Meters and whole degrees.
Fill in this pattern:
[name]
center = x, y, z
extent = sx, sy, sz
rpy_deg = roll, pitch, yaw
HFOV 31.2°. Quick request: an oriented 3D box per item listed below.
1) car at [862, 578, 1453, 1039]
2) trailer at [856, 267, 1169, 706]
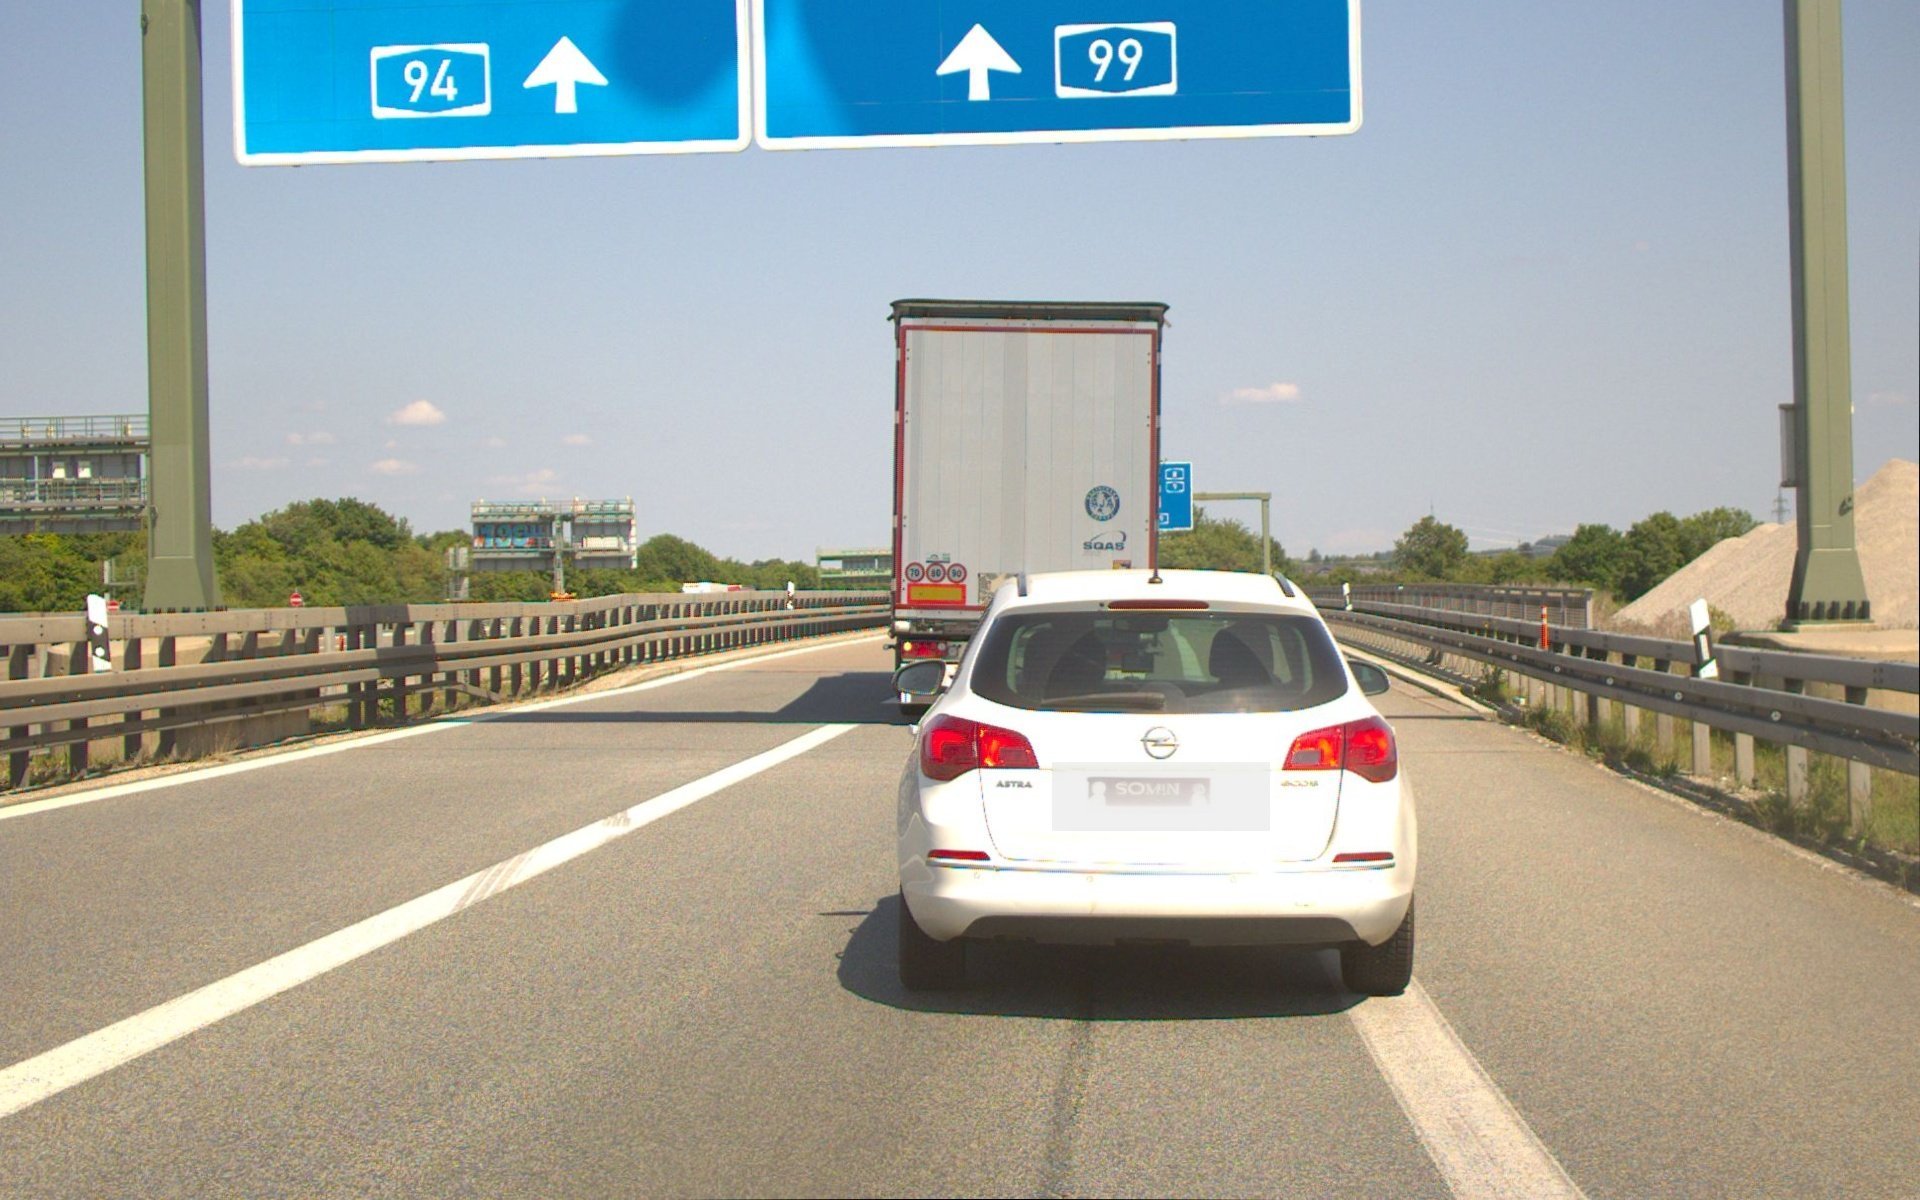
[car]
center = 0.735, 0.651, 13.050
extent = 1.854, 1.438, 4.371
rpy_deg = 0, 0, 3
[trailer]
center = 0.730, -1.018, 38.154
extent = 2.912, 4.131, 11.256
rpy_deg = 1, -1, 2
